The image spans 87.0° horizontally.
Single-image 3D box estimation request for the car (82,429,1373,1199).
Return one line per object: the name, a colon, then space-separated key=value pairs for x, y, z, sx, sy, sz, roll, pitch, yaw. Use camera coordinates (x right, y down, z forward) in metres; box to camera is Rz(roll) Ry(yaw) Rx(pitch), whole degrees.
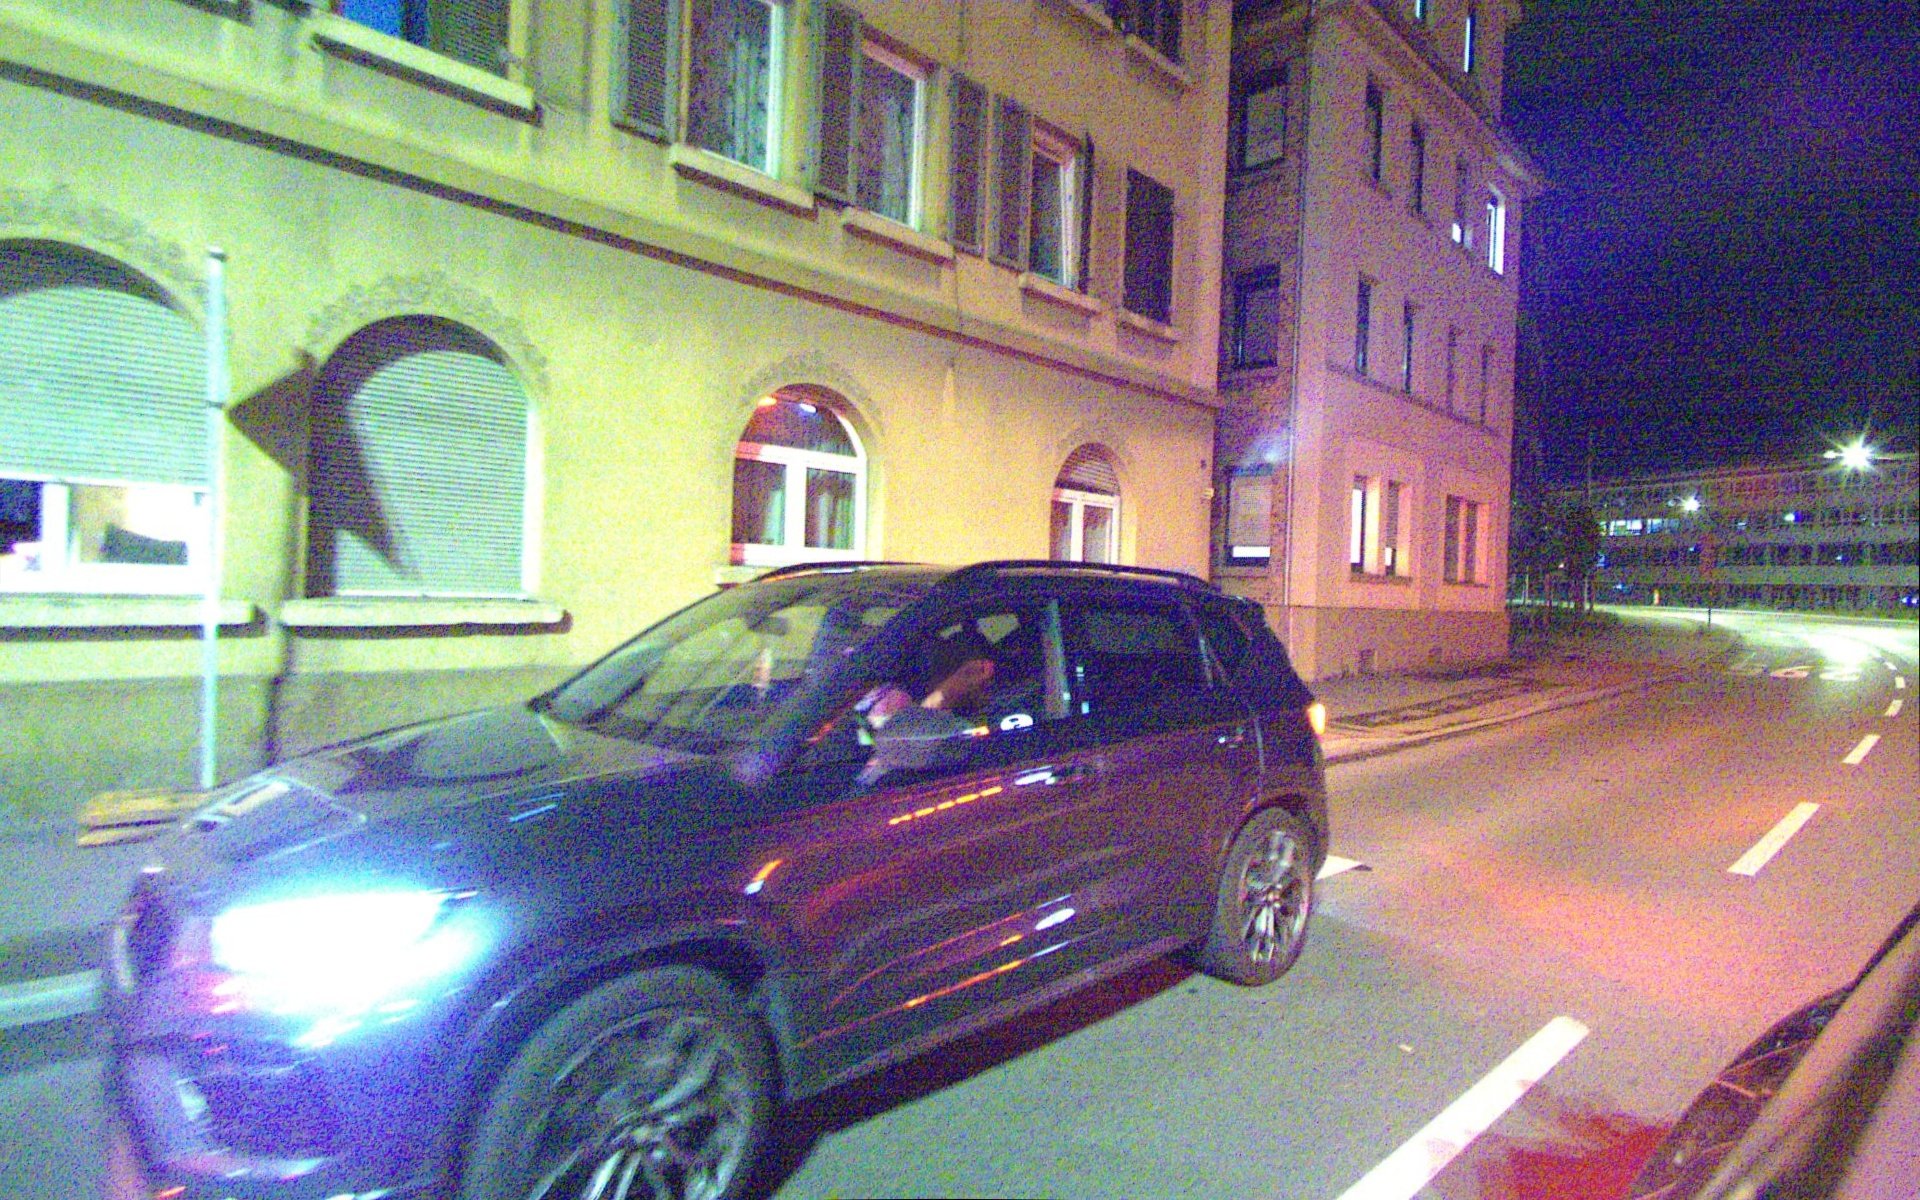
car: x=-0.298 y=0.509 z=3.554 sx=4.159 sy=1.630 sz=1.672 roll=-1 pitch=2 yaw=-43
